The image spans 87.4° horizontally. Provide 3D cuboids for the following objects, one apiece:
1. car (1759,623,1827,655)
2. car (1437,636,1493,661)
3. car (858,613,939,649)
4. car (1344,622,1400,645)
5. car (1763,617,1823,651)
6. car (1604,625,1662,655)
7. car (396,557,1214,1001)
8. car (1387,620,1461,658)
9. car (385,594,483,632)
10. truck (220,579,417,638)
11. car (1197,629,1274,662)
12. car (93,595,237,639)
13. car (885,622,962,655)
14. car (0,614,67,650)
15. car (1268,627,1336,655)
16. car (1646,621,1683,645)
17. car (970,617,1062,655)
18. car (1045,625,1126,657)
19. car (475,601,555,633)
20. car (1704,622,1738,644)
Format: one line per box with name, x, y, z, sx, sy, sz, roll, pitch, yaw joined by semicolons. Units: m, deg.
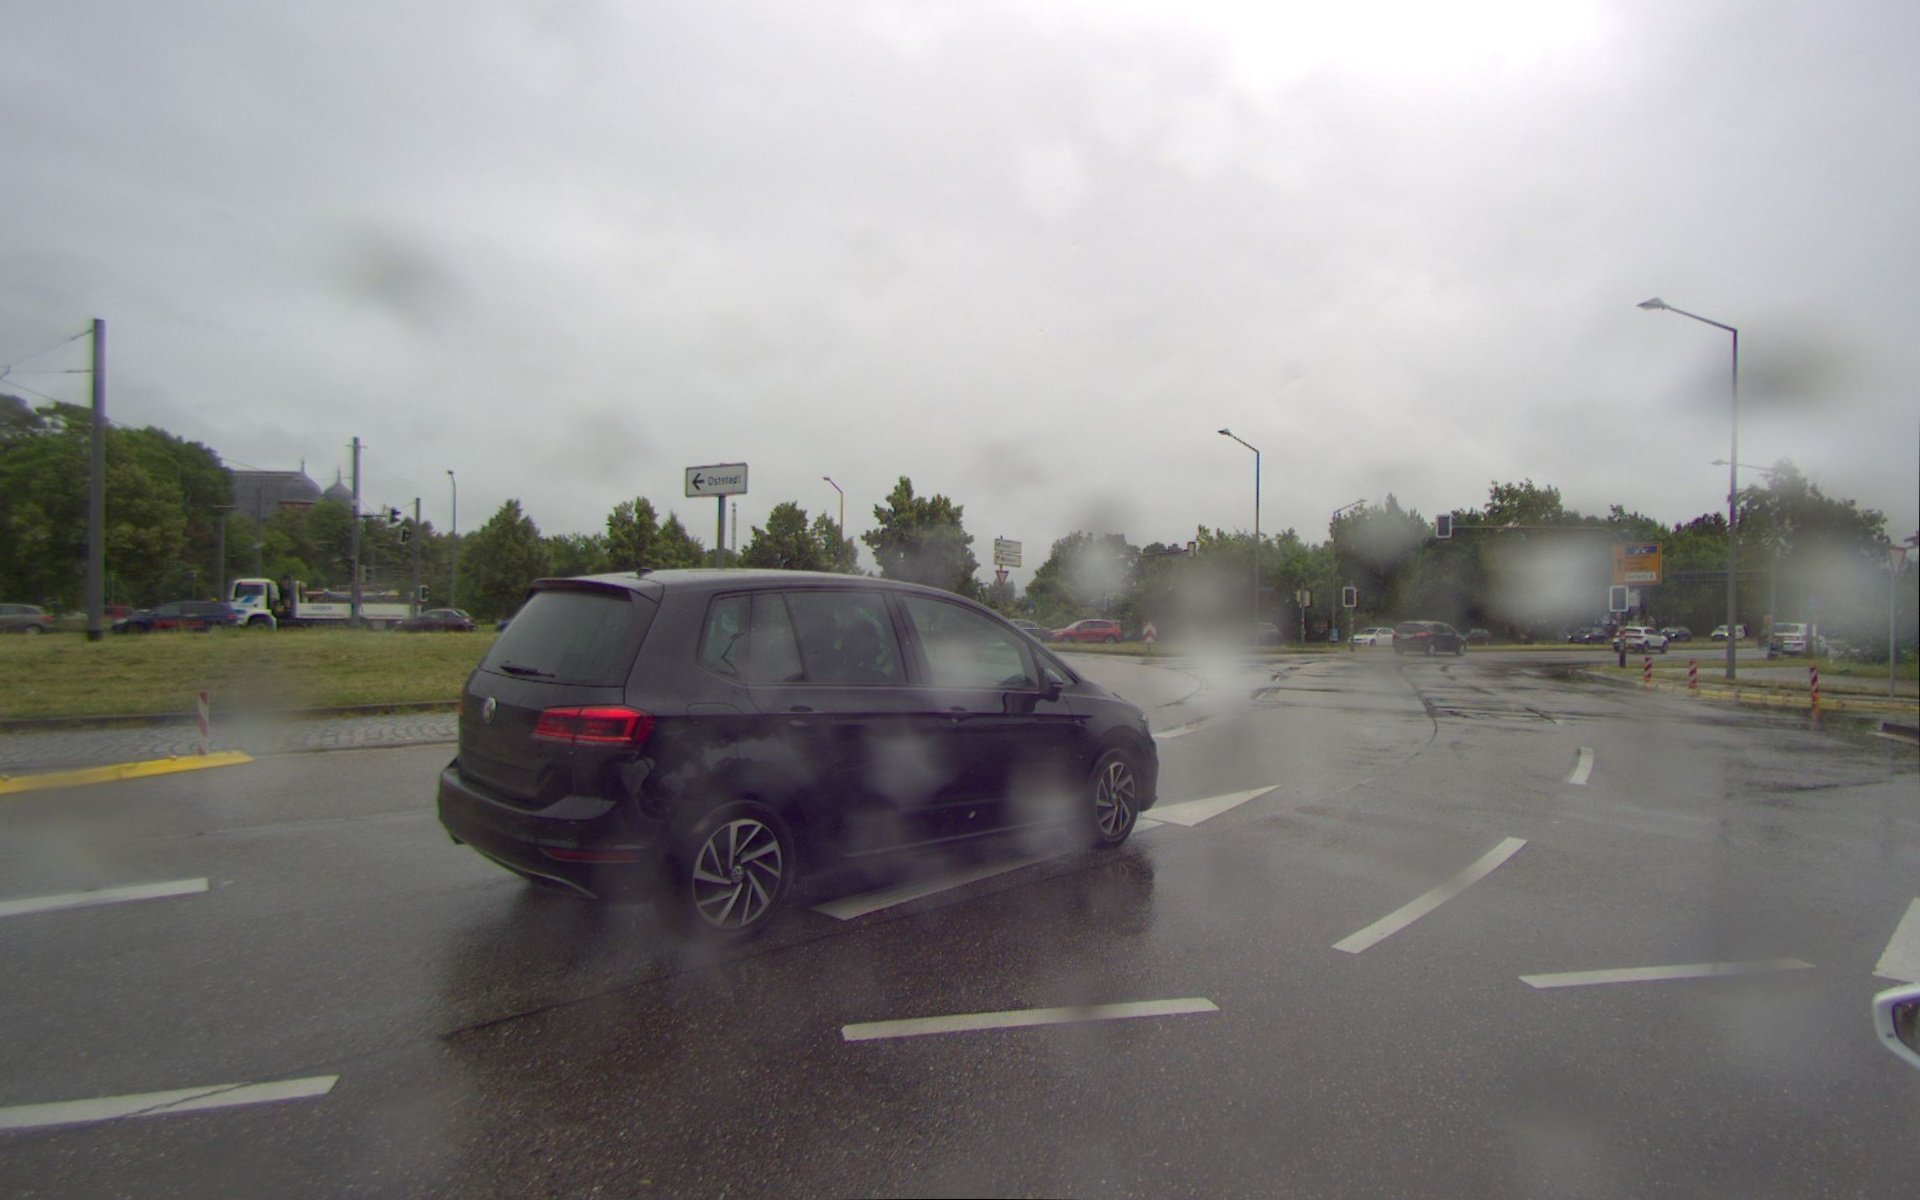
car;50.689;2.347;61.118;4.783;1.834;1.774;1;-1;-31
car;38.276;3.688;76.186;3.949;1.669;1.776;3;0;-27
car;-3.289;1.651;54.174;4.065;1.669;1.790;3;0;3
car;28.734;2.341;70.034;4.210;1.394;1.615;3;0;-36
car;56.907;2.319;68.616;3.952;2.063;1.775;3;0;-29
car;41.706;2.502;62.198;3.908;1.669;1.669;3;0;-35
car;-0.521;0.639;5.618;4.302;1.538;1.766;1;0;-44
car;22.783;1.919;49.269;3.968;1.669;1.768;3;0;-40
car;-26.063;0.635;49.892;3.936;1.669;1.782;3;0;-17
truck;-34.616;0.507;54.601;8.674;2.747;1.989;3;0;-23
car;15.908;2.626;57.977;4.347;1.669;1.773;3;0;-33
car;-35.100;0.774;44.447;4.832;1.767;1.755;3;0;-43
car;-2.160;2.283;59.678;4.305;1.669;1.790;3;0;5
car;-42.227;1.385;43.943;1.588;1.511;4.527;3;0;41
car;23.556;2.814;69.113;4.327;1.669;1.779;3;0;-23
car;67.208;3.164;95.781;3.639;2.040;1.776;3;0;-36
car;2.801;1.823;50.900;4.313;1.669;1.787;3;0;-8
car;7.420;2.410;59.493;4.322;1.669;1.783;3;0;-16
car;-26.073;1.013;58.966;3.934;1.669;1.783;3;0;-15
car;77.344;3.384;102.080;3.639;2.040;1.776;3;0;-36
